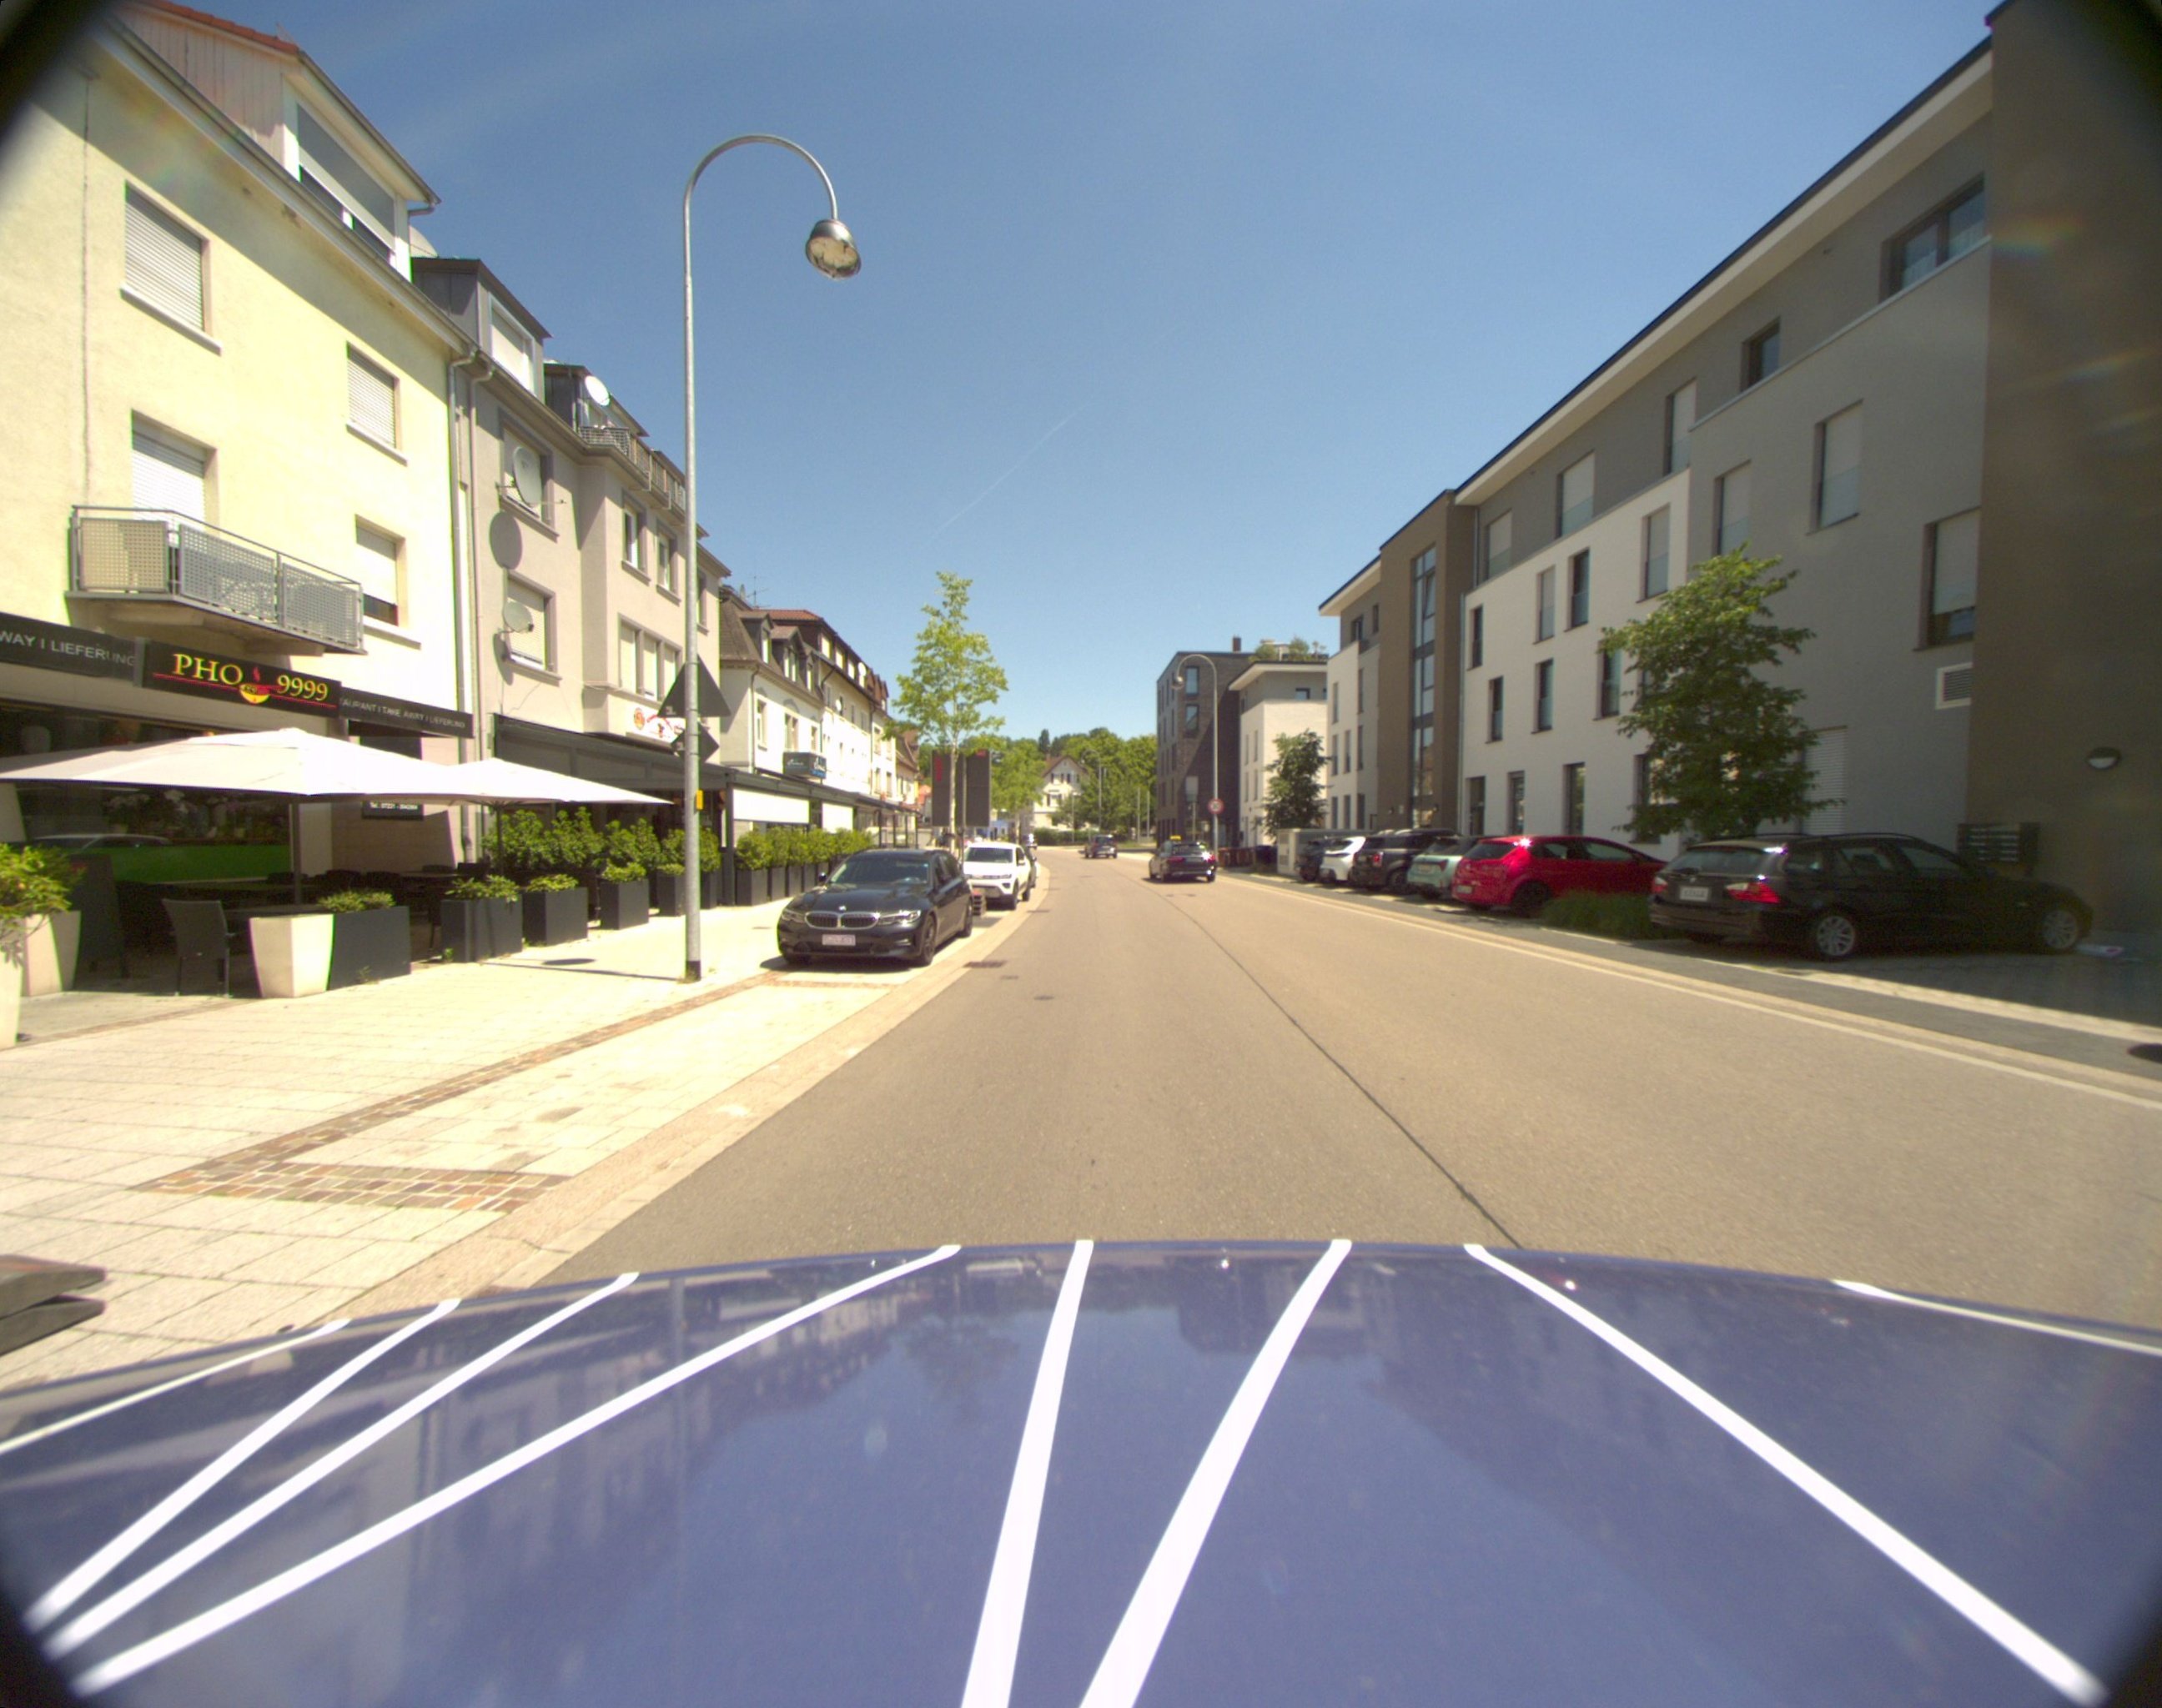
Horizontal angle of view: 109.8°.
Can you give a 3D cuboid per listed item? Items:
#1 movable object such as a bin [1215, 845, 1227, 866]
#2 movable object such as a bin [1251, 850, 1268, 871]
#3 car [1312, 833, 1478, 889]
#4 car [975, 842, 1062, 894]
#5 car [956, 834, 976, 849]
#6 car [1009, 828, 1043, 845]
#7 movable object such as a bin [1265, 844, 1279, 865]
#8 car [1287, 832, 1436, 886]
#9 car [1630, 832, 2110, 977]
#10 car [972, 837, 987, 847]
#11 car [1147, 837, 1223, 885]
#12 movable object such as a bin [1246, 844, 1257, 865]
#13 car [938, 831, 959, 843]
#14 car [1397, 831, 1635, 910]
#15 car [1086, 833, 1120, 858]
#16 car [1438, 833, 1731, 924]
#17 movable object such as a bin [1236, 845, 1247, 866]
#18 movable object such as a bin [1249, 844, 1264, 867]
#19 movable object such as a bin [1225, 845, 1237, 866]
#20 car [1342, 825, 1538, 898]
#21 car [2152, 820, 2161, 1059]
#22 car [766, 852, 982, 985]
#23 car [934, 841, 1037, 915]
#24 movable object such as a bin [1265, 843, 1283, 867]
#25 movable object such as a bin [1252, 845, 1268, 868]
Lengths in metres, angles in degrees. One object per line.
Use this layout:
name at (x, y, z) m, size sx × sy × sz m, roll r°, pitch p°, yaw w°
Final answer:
movable object such as a bin at (6.757, 0.071, 36.688) m, size 0.484 × 0.992 × 0.587 m, roll -1°, pitch 2°, yaw -4°
movable object such as a bin at (7.833, 0.286, 33.303) m, size 0.556 × 0.863 × 0.481 m, roll -1°, pitch 2°, yaw -19°
car at (8.969, 0.176, 21.935) m, size 3.997 × 1.413 × 1.909 m, roll -2°, pitch 2°, yaw -2°
car at (-1.972, 0.408, 25.193) m, size 1.835 × 1.474 × 4.097 m, roll -1°, pitch 2°, yaw 10°
car at (-12.578, -1.376, 82.687) m, size 1.685 × 1.505 × 3.381 m, roll -1°, pitch 1°, yaw -16°
car at (-5.937, -1.899, 81.678) m, size 1.951 × 1.649 × 4.224 m, roll -3°, pitch 3°, yaw -30°
movable object such as a bin at (9.373, 0.032, 37.227) m, size 0.484 × 0.992 × 0.587 m, roll -1°, pitch 2°, yaw -9°
car at (8.822, 0.132, 24.158) m, size 3.997 × 1.507 × 1.999 m, roll -2°, pitch 2°, yaw -1°
car at (9.441, 0.515, 9.315) m, size 4.212 × 1.430 × 1.884 m, roll -2°, pitch 2°, yaw -6°
car at (-14.327, -1.697, 107.483) m, size 1.673 × 1.388 × 3.842 m, roll -1°, pitch 1°, yaw -14°
car at (3.660, 0.201, 27.557) m, size 1.899 × 1.545 × 4.796 m, roll -1°, pitch 1°, yaw -2°
movable object such as a bin at (8.226, 0.042, 36.720) m, size 0.404 × 0.992 × 0.555 m, roll -1°, pitch 2°, yaw -4°
car at (-16.544, -2.156, 94.959) m, size 1.737 × 1.465 × 4.314 m, roll 1°, pitch 2°, yaw -21°
car at (9.358, 0.312, 16.616) m, size 4.042 × 1.488 × 1.999 m, roll -2°, pitch 2°, yaw 0°
car at (1.509, -0.669, 54.273) m, size 1.816 × 1.692 × 4.072 m, roll -1°, pitch 2°, yaw -7°
car at (9.019, 0.385, 13.912) m, size 4.042 × 1.422 × 1.999 m, roll -2°, pitch 2°, yaw 0°
movable object such as a bin at (7.741, 0.047, 36.726) m, size 0.404 × 0.992 × 0.555 m, roll -1°, pitch 2°, yaw -4°
movable object such as a bin at (7.828, 0.066, 33.865) m, size 0.555 × 0.992 × 0.427 m, roll -1°, pitch 2°, yaw -1°
movable object such as a bin at (7.247, 0.077, 36.739) m, size 0.404 × 0.992 × 0.555 m, roll -1°, pitch 2°, yaw -4°
car at (8.992, 0.144, 19.311) m, size 4.042 × 1.642 × 1.999 m, roll -2°, pitch 2°, yaw 0°
car at (9.400, 0.534, 4.133) m, size 4.466 × 1.582 × 1.999 m, roll -2°, pitch 2°, yaw -2°
car at (-2.678, 0.730, 10.998) m, size 1.728 × 1.397 × 4.608 m, roll 1°, pitch 1°, yaw 2°
car at (-2.212, 0.490, 18.612) m, size 1.741 × 1.478 × 4.053 m, roll 2°, pitch 2°, yaw 3°
movable object such as a bin at (8.608, 0.045, 33.839) m, size 0.556 × 1.033 × 0.544 m, roll -1°, pitch 3°, yaw -19°
movable object such as a bin at (8.138, 0.094, 34.567) m, size 0.556 × 1.014 × 0.560 m, roll -1°, pitch 2°, yaw -7°
